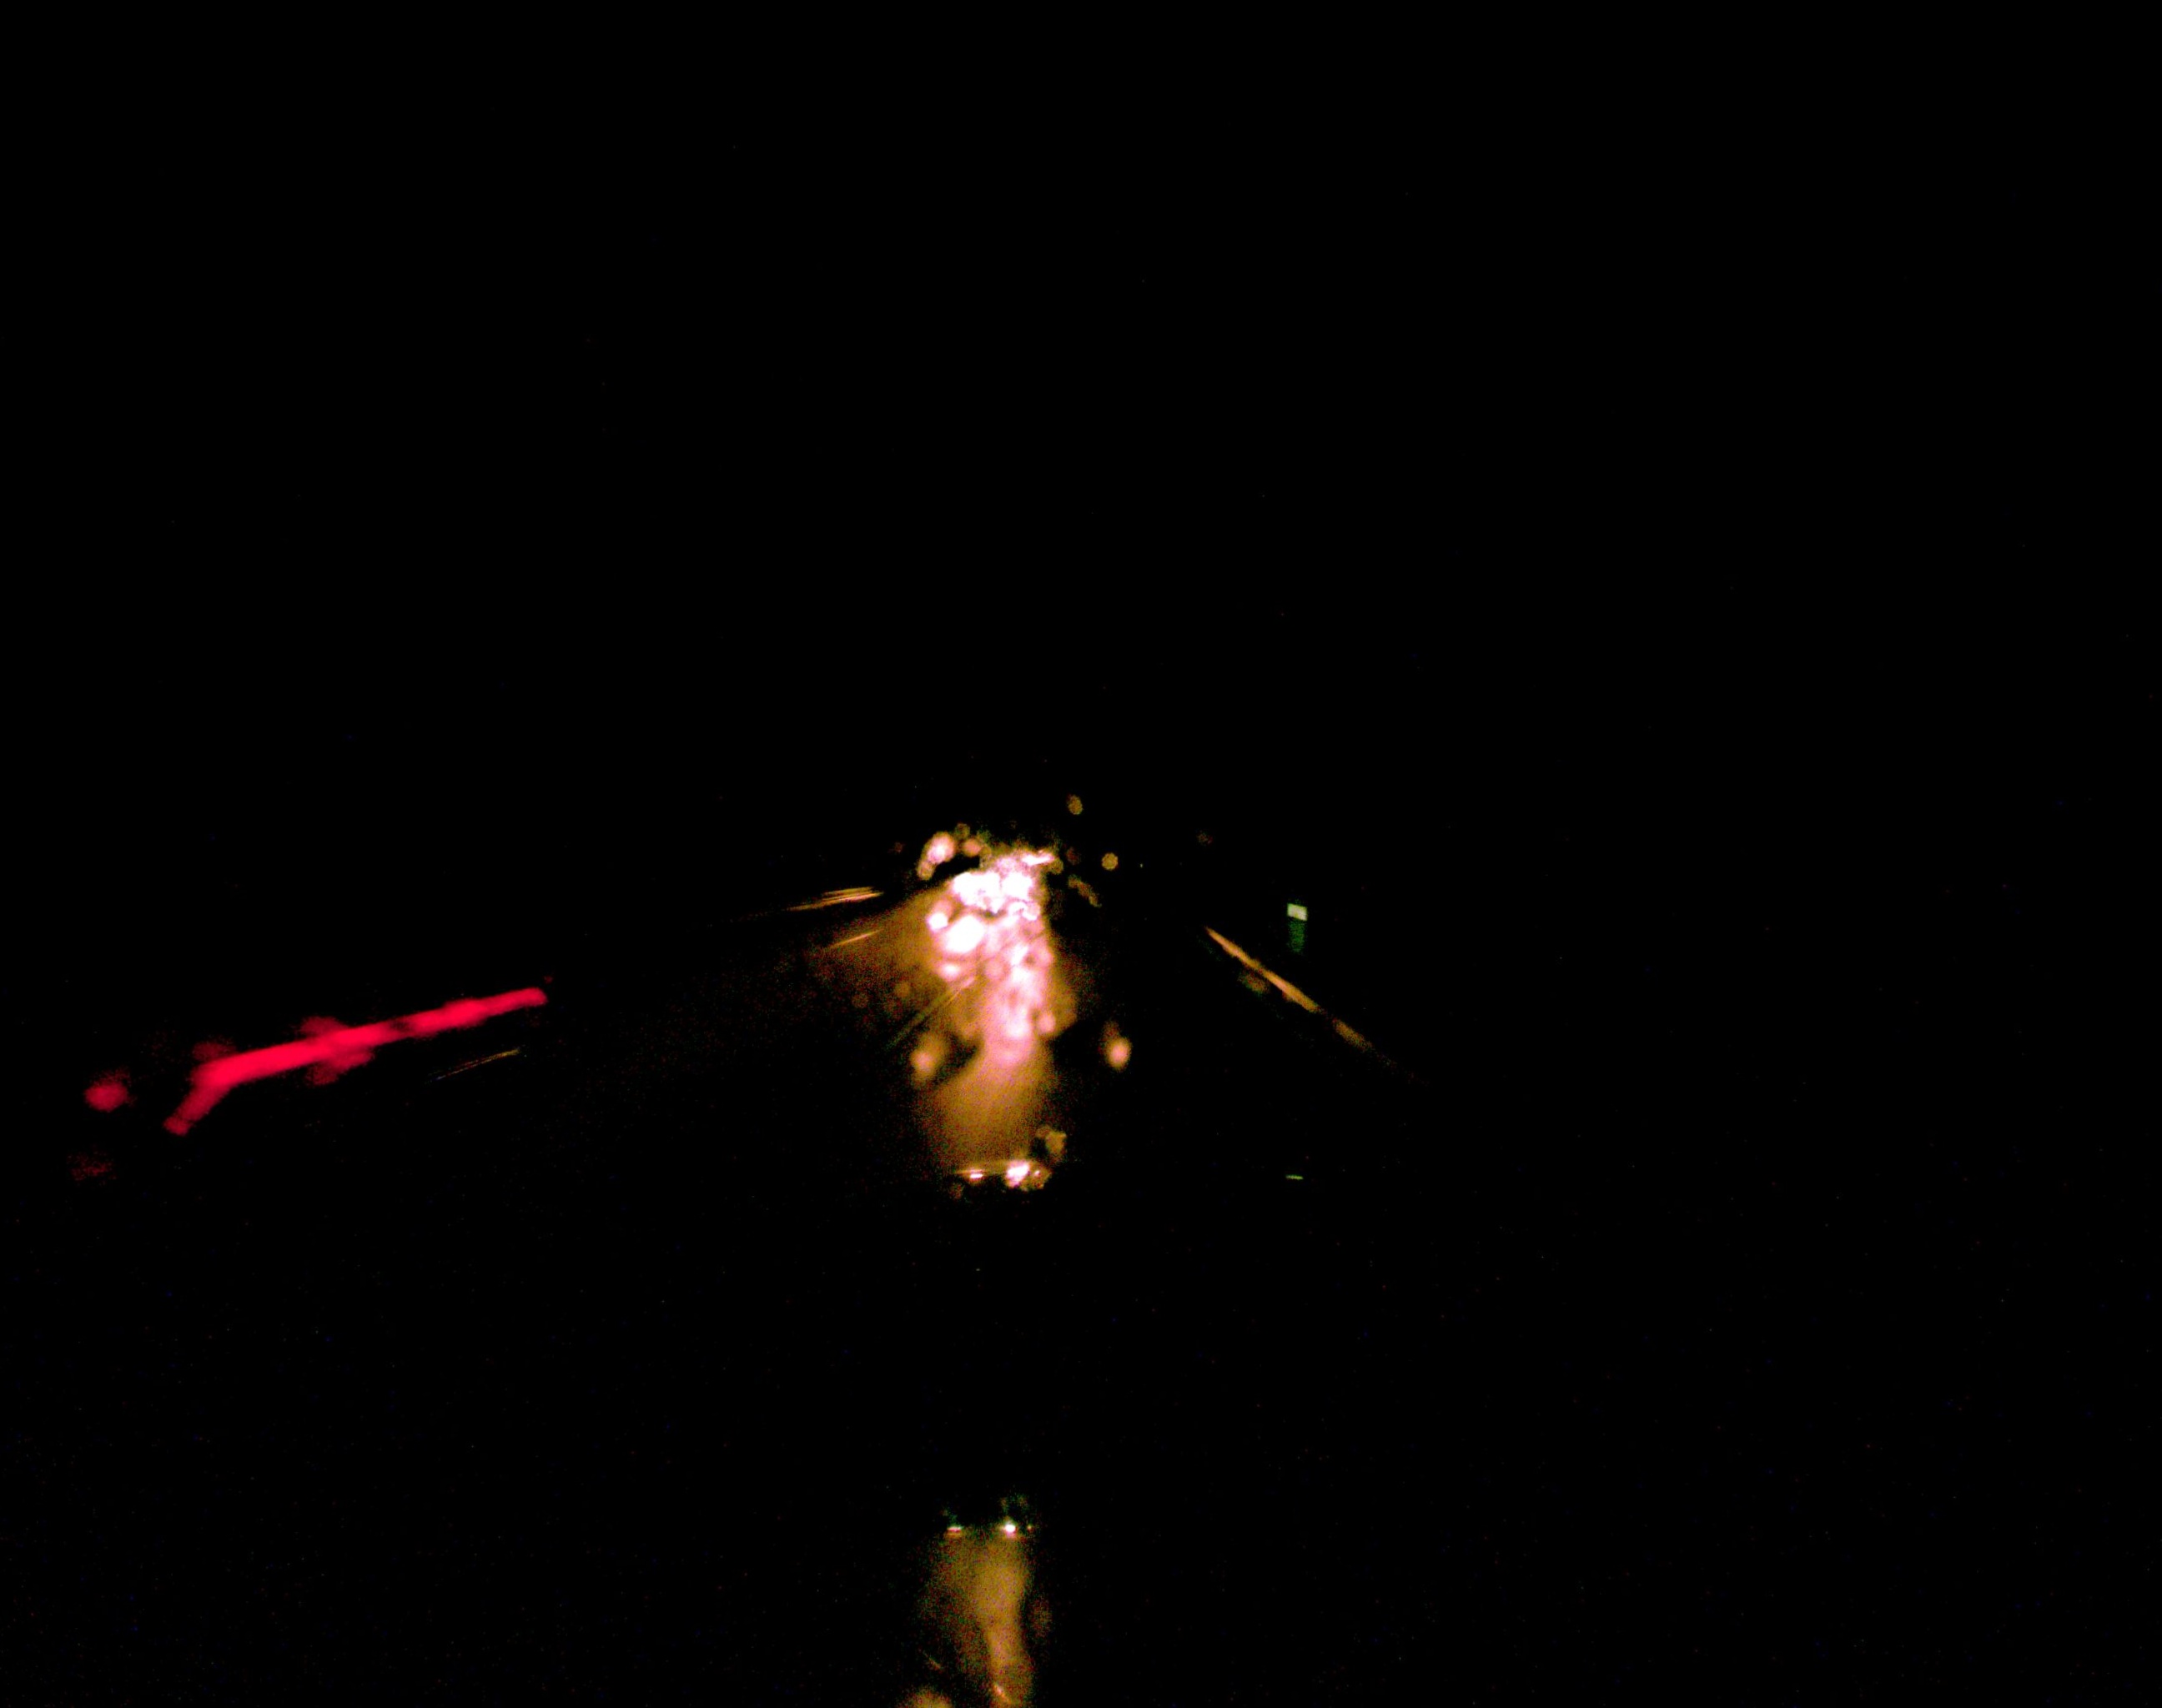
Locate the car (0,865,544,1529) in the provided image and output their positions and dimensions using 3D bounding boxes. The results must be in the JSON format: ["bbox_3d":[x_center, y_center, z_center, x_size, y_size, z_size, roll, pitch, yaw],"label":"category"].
[{"bbox_3d":[-3.459,0.796,1.466,1.968,1.462,4.285,1,0,3],"label":"car"}]

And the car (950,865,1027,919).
[{"bbox_3d":[-2.904,1.167,26.605,1.848,1.521,4.682,1,0,1],"label":"car"}]
